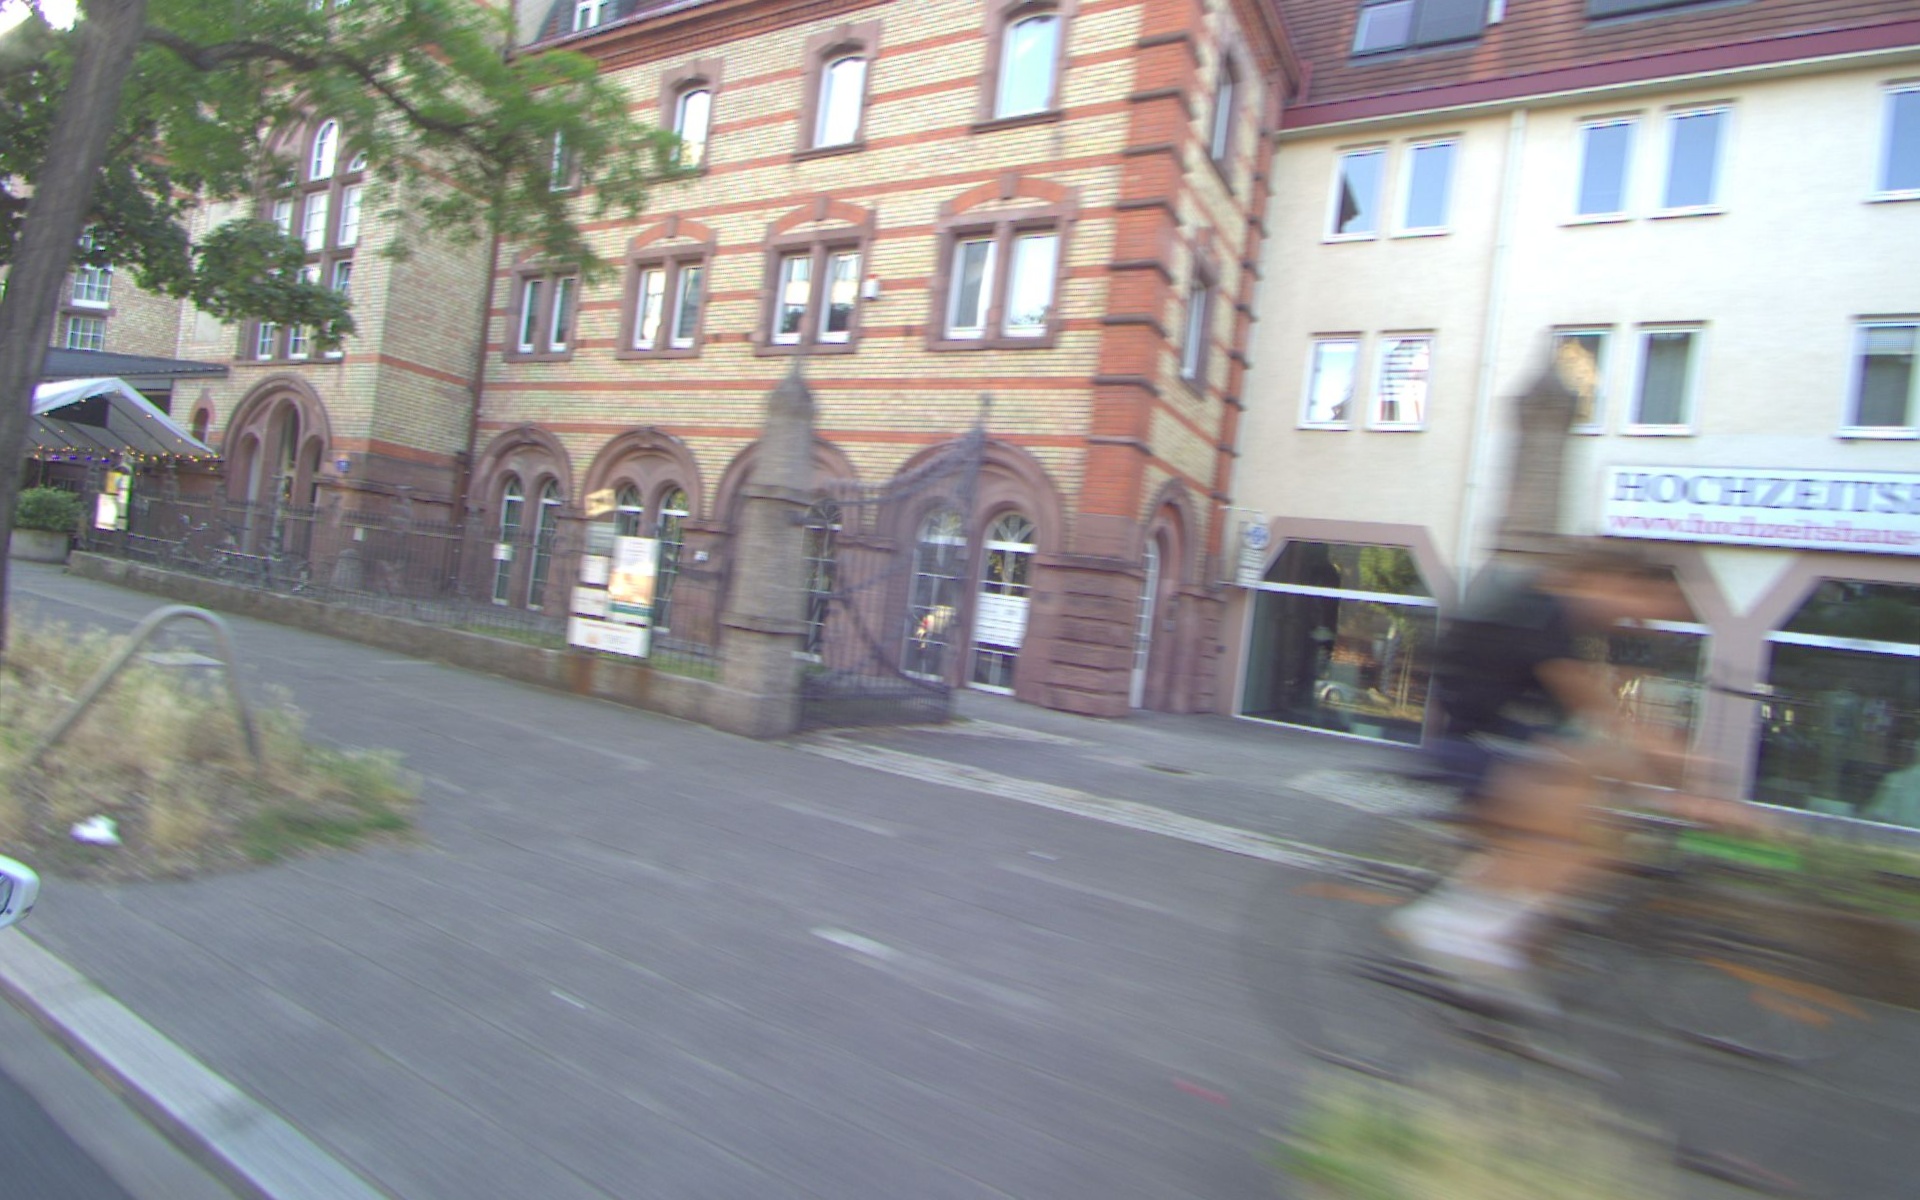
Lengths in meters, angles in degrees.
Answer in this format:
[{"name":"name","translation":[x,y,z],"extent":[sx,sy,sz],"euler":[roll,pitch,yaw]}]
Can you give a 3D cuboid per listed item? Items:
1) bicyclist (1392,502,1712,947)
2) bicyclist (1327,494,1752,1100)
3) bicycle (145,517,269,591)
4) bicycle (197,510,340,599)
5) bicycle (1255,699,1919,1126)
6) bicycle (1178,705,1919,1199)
[{"name":"bicyclist","translation":[2.355,0.451,4.067],"extent":[0.878,1.549,0.597],"euler":[7,-2,31]},{"name":"bicyclist","translation":[1.748,0.520,3.113],"extent":[0.878,1.549,0.597],"euler":[7,-2,31]},{"name":"bicycle","translation":[-12.320,-0.736,16.495],"extent":[0.525,0.957,1.448],"euler":[7,-3,32]},{"name":"bicycle","translation":[-11.125,-0.708,16.241],"extent":[0.485,1.150,1.737],"euler":[7,-2,32]},{"name":"bicycle","translation":[2.325,1.079,3.972],"extent":[2.054,1.052,0.518],"euler":[7,-2,31]},{"name":"bicycle","translation":[1.801,1.007,3.041],"extent":[2.054,1.052,0.545],"euler":[7,-2,31]}]
